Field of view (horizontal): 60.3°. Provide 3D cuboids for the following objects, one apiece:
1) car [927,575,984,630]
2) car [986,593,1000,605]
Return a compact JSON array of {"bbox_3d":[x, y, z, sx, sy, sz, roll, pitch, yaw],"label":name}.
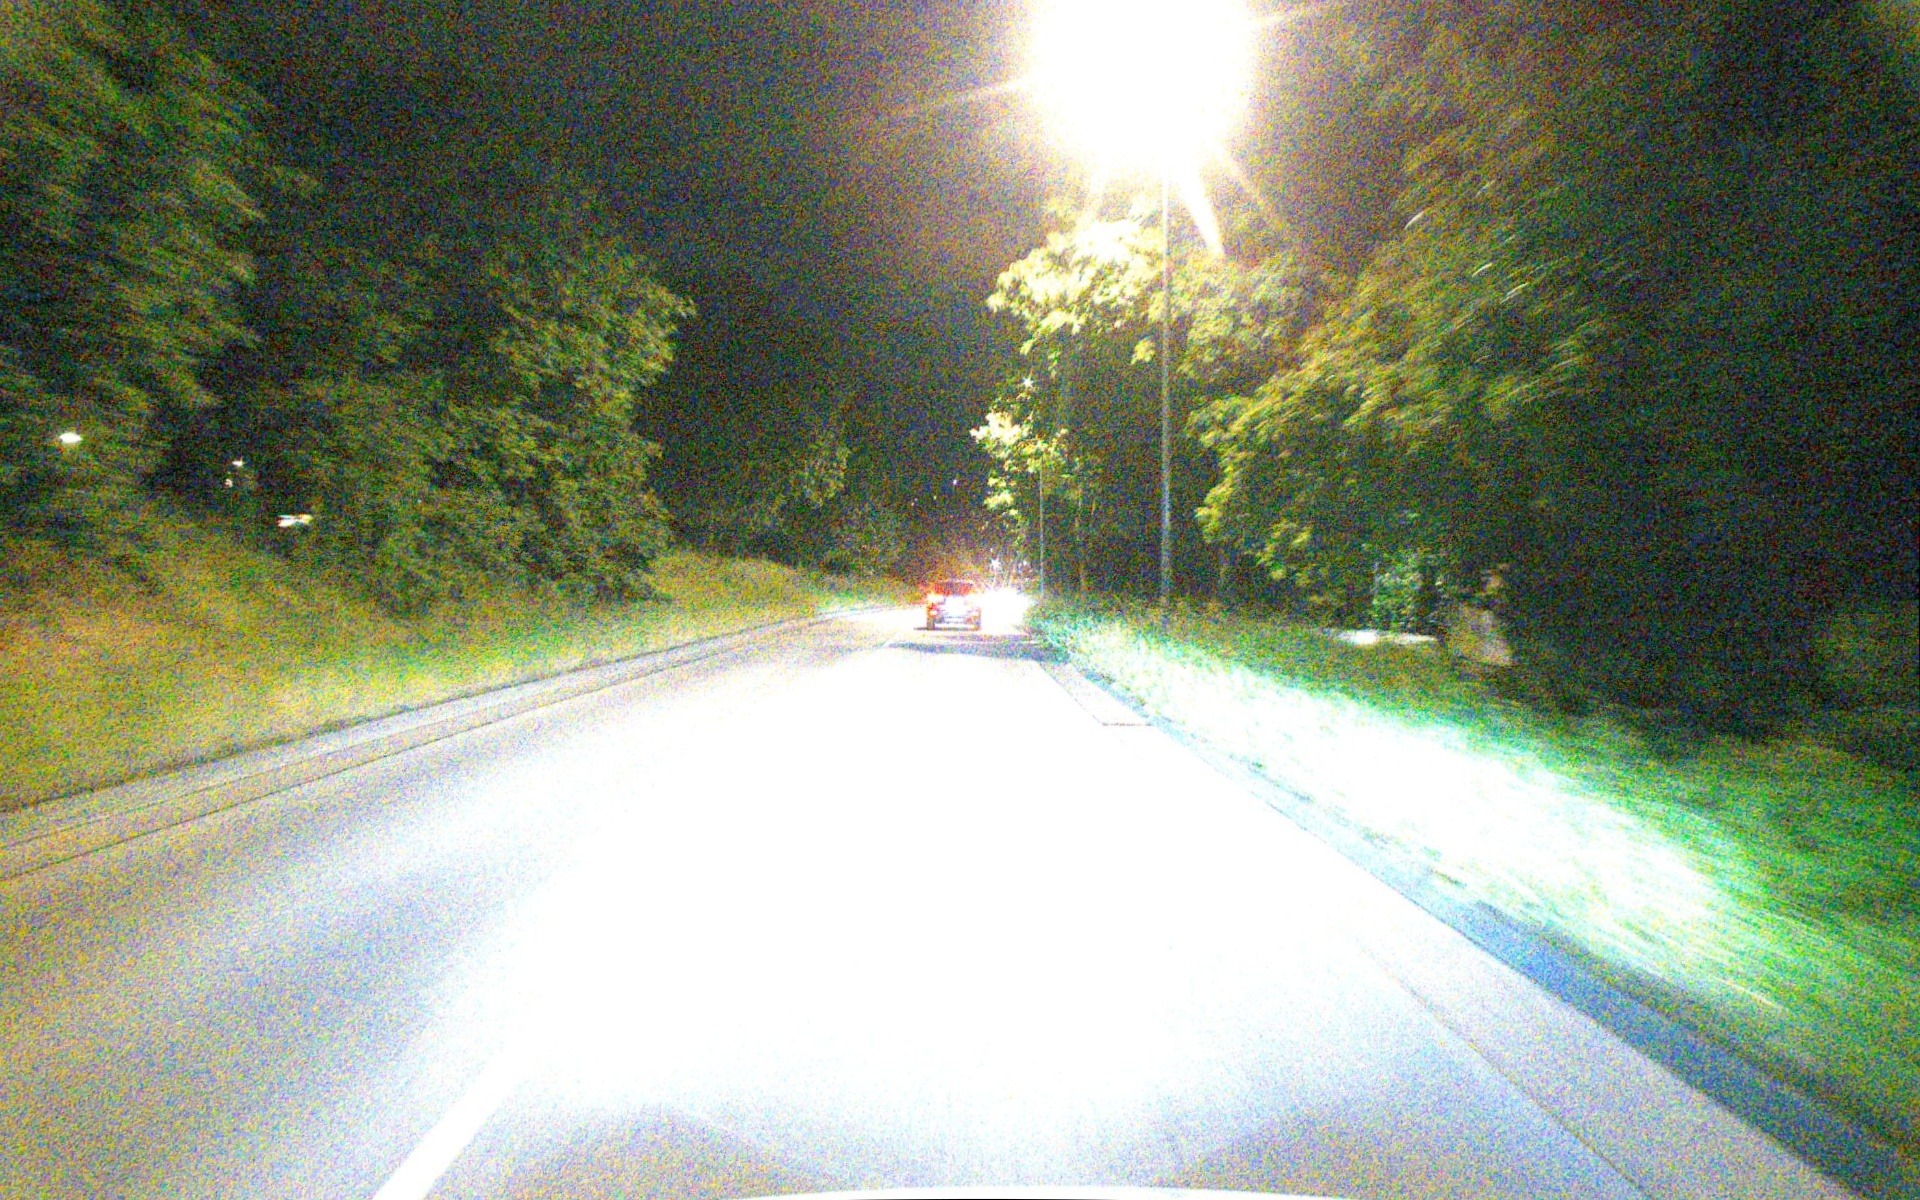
[{"bbox_3d":[-0.155,0.064,53.158,1.727,1.670,3.722,1,1,-1],"label":"car"},{"bbox_3d":[4.061,-0.132,205.065,1.653,1.483,4.000,1,0,1],"label":"car"}]
